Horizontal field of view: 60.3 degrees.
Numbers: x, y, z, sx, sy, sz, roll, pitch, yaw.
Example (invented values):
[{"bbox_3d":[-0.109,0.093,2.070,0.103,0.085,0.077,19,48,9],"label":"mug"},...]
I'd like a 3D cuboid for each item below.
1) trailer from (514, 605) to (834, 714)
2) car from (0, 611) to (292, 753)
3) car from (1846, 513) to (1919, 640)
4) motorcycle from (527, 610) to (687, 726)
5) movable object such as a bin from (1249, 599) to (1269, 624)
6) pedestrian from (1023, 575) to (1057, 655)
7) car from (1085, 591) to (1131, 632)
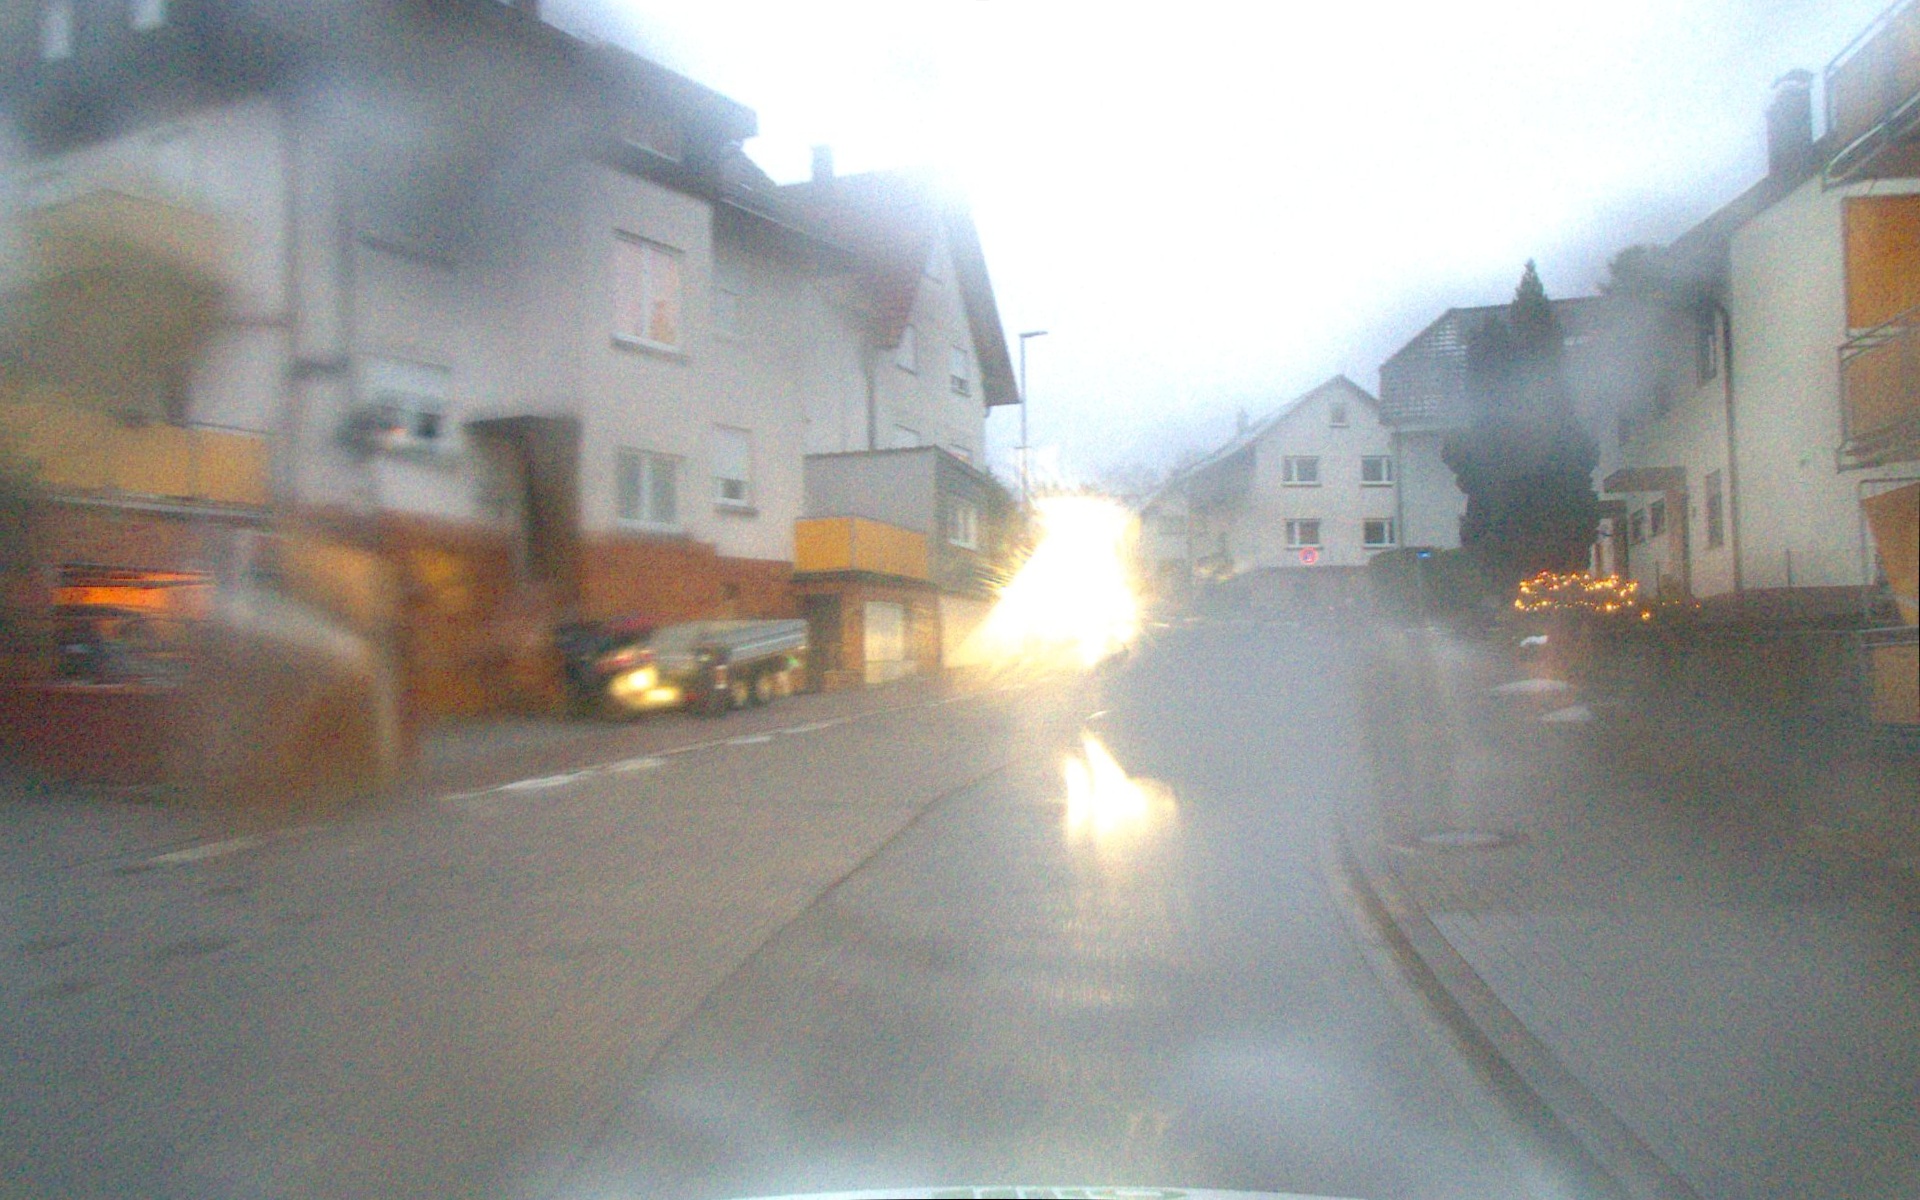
[{"bbox_3d":[-3.729,0.726,22.615,2.016,1.189,4.867,2,1,22],"label":"trailer"},{"bbox_3d":[-9.696,0.854,18.740,3.911,1.441,1.914,0,0,29],"label":"car"},{"bbox_3d":[14.926,-0.529,22.828,4.164,1.676,2.065,-6,0,3],"label":"car"},{"bbox_3d":[-4.396,0.799,20.475,1.047,1.321,2.207,1,0,-39],"label":"motorcycle"},{"bbox_3d":[11.538,0.440,63.851,0.624,0.933,0.685,-1,0,0],"label":"movable object such as a bin"},{"bbox_3d":[1.788,0.347,36.902,0.585,1.763,0.812,0,-1,16],"label":"pedestrian"},{"bbox_3d":[7.888,0.593,87.846,2.065,2.062,4.987,-2,0,9],"label":"car"}]
